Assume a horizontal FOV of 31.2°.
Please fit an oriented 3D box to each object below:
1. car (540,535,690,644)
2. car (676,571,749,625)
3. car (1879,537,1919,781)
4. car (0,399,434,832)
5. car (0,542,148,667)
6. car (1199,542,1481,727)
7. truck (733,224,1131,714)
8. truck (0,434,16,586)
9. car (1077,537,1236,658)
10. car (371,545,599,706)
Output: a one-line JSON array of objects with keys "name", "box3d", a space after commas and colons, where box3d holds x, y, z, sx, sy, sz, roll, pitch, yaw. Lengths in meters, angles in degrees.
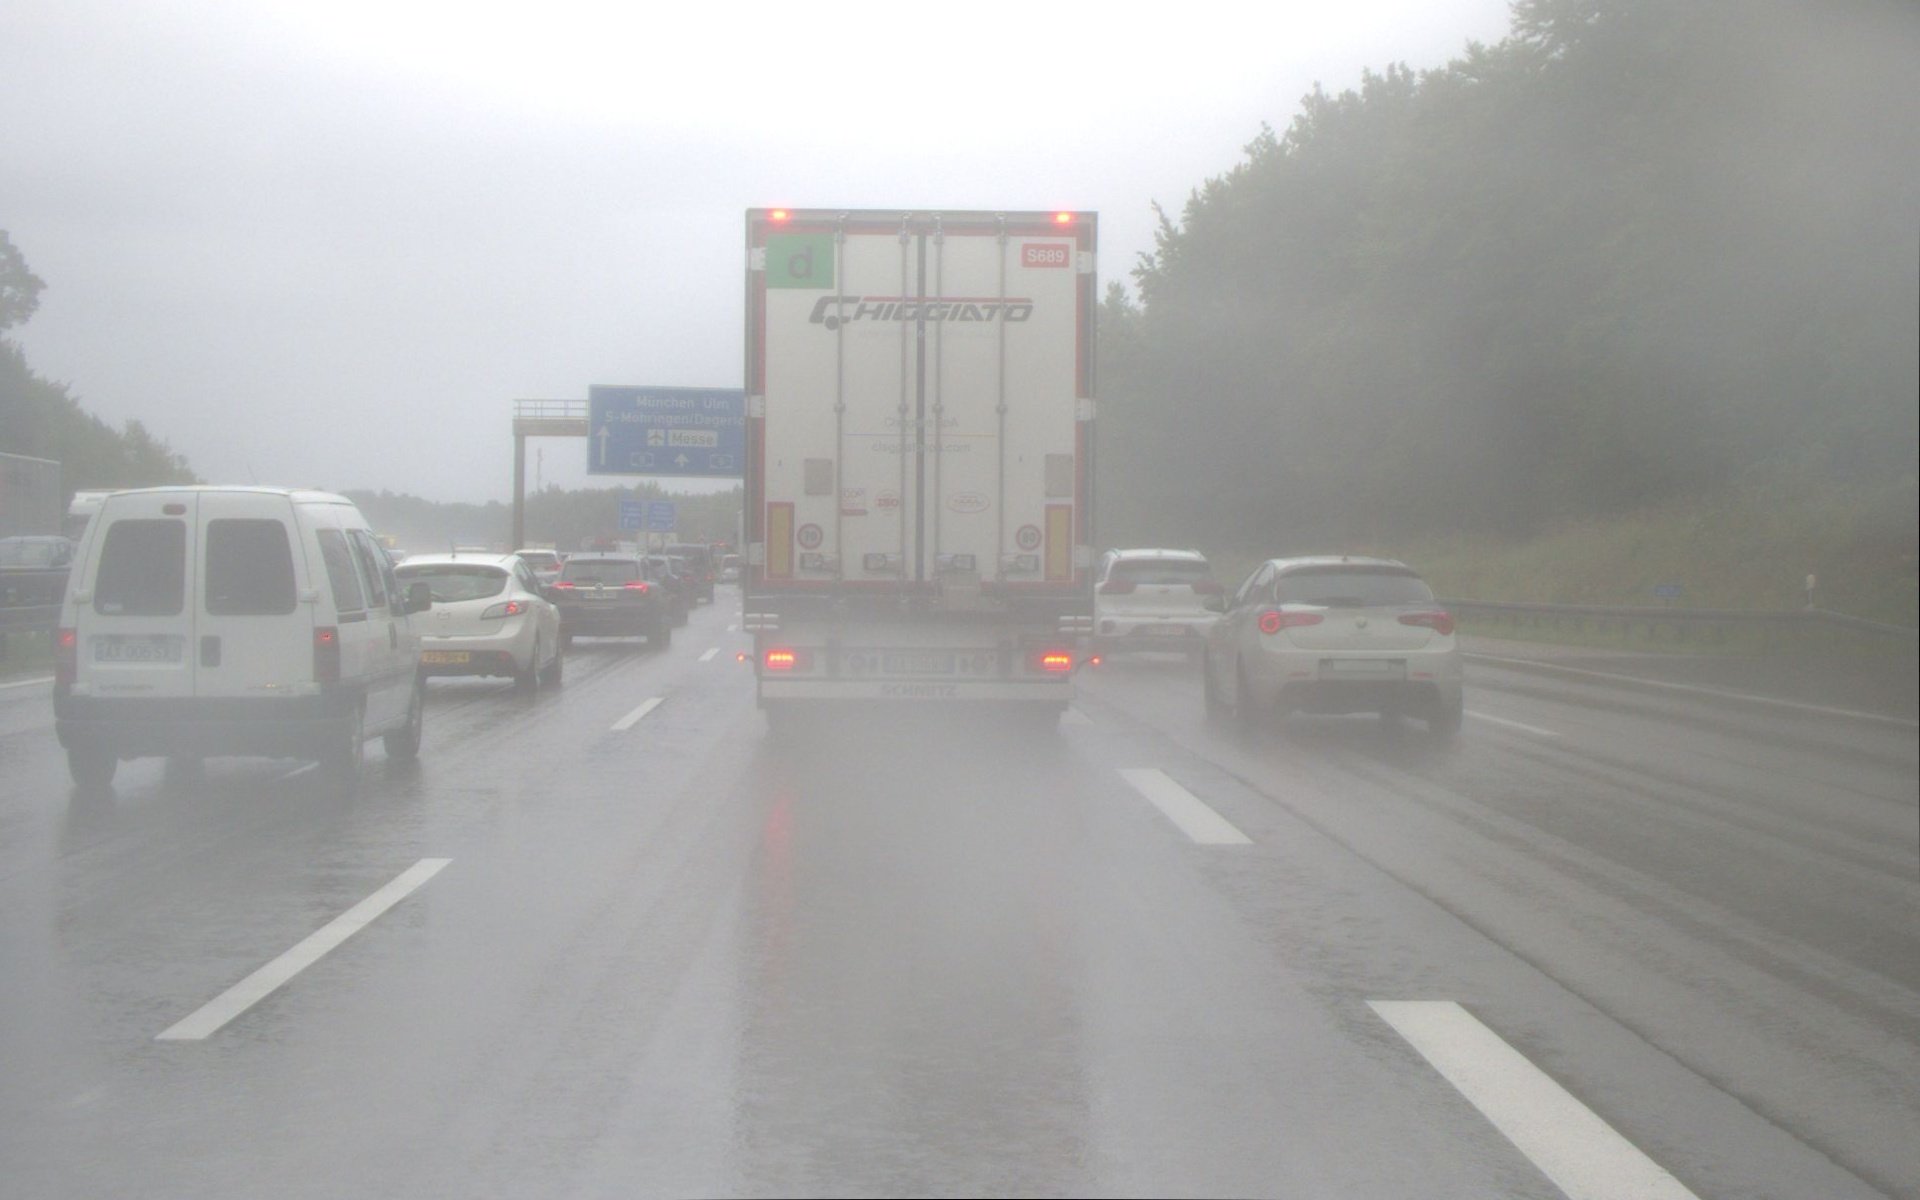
[{"name": "car", "box3d": [-5.318, -0.199, 53.479, 1.845, 1.586, 4.467, 1, 1, 0]}, {"name": "car", "box3d": [-6.531, -0.075, 91.027, 1.845, 1.326, 4.467, 1, 1, -3]}, {"name": "car", "box3d": [7.211, 0.424, 20.928, 1.990, 1.578, 4.767, 1, 1, 1]}, {"name": "car", "box3d": [-4.838, 0.048, 23.014, 2.212, 2.564, 5.016, 1, 1, -4]}, {"name": "car", "box3d": [-11.895, 0.019, 44.149, 2.090, 1.499, 4.755, -1, 1, -4]}, {"name": "car", "box3d": [3.139, 0.234, 29.242, 1.890, 1.420, 4.483, 1, 1, 0]}, {"name": "truck", "box3d": [-0.285, -1.002, 30.766, 2.872, 3.550, 11.302, 1, 0, -1]}, {"name": "truck", "box3d": [-26.083, -2.266, 85.057, 2.704, 3.918, 10.028, 0, 1, 0]}, {"name": "car", "box3d": [2.579, -0.068, 45.962, 1.845, 1.517, 4.344, 1, 1, 0]}, {"name": "car", "box3d": [-4.999, 0.220, 36.675, 1.845, 1.586, 4.072, 1, 1, 0]}]
